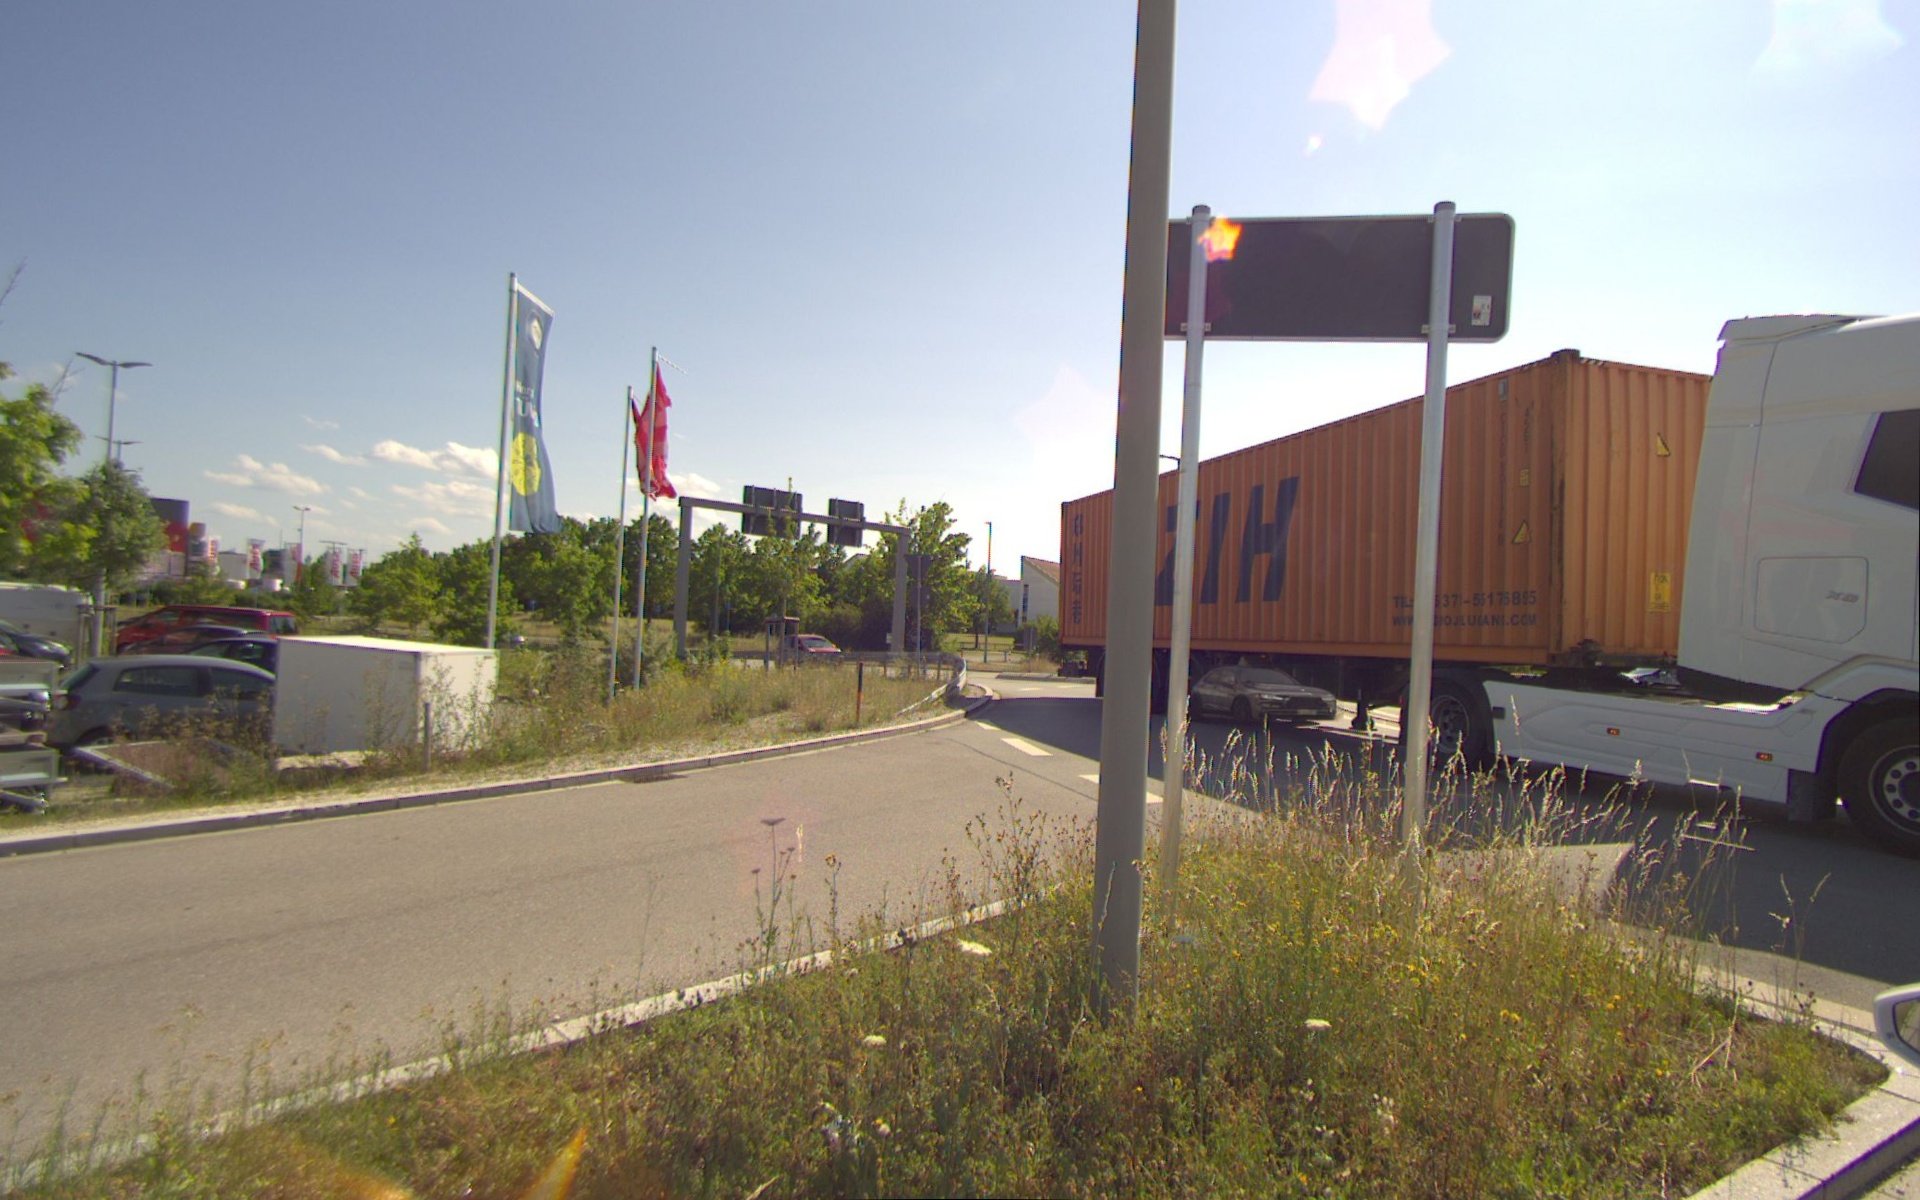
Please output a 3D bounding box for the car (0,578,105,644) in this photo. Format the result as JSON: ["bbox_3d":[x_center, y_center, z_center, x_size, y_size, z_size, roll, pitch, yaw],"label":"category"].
[{"bbox_3d":[-30.627,0.327,32.601,4.316,2.040,1.881,3,0,-41],"label":"car"}]

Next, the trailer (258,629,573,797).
[{"bbox_3d":[-7.539,1.459,13.990,3.624,1.795,1.808,4,1,19],"label":"trailer"}]

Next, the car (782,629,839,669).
[{"bbox_3d":[-6.293,2.022,42.029,1.455,1.414,3.688,2,0,-23],"label":"car"}]

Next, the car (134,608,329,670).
[{"bbox_3d":[-20.038,1.062,27.779,3.925,1.483,1.823,3,0,-6],"label":"car"}]

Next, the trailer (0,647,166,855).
[{"bbox_3d":[-10.643,1.467,10.617,3.623,1.795,1.808,2,0,19],"label":"trailer"}]

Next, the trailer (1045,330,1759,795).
[{"bbox_3d":[4.807,-0.245,15.356,2.520,4.208,12.316,2,-1,-17],"label":"trailer"}]

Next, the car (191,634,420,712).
[{"bbox_3d":[-15.053,1.664,23.307,3.926,1.483,1.824,4,-3,-6],"label":"car"}]

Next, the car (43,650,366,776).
[{"bbox_3d":[-11.317,1.613,15.253,3.713,1.572,1.724,3,0,-40],"label":"car"}]

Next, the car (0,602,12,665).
[{"bbox_3d":[-25.336,0.752,23.787,3.964,1.483,1.806,3,0,-37],"label":"car"}]

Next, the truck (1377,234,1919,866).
[{"bbox_3d":[7.003,-0.292,8.723,2.621,4.161,6.409,2,-1,-18],"label":"truck"}]

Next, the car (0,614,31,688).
[{"bbox_3d":[-22.042,1.027,20.754,3.964,1.483,1.806,3,0,-37],"label":"car"}]

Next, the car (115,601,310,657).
[{"bbox_3d":[-22.560,0.865,30.465,4.372,1.483,1.823,3,0,-6],"label":"car"}]

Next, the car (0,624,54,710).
[{"bbox_3d":[-18.131,1.116,17.080,3.971,1.483,1.803,3,-3,-42],"label":"car"}]
